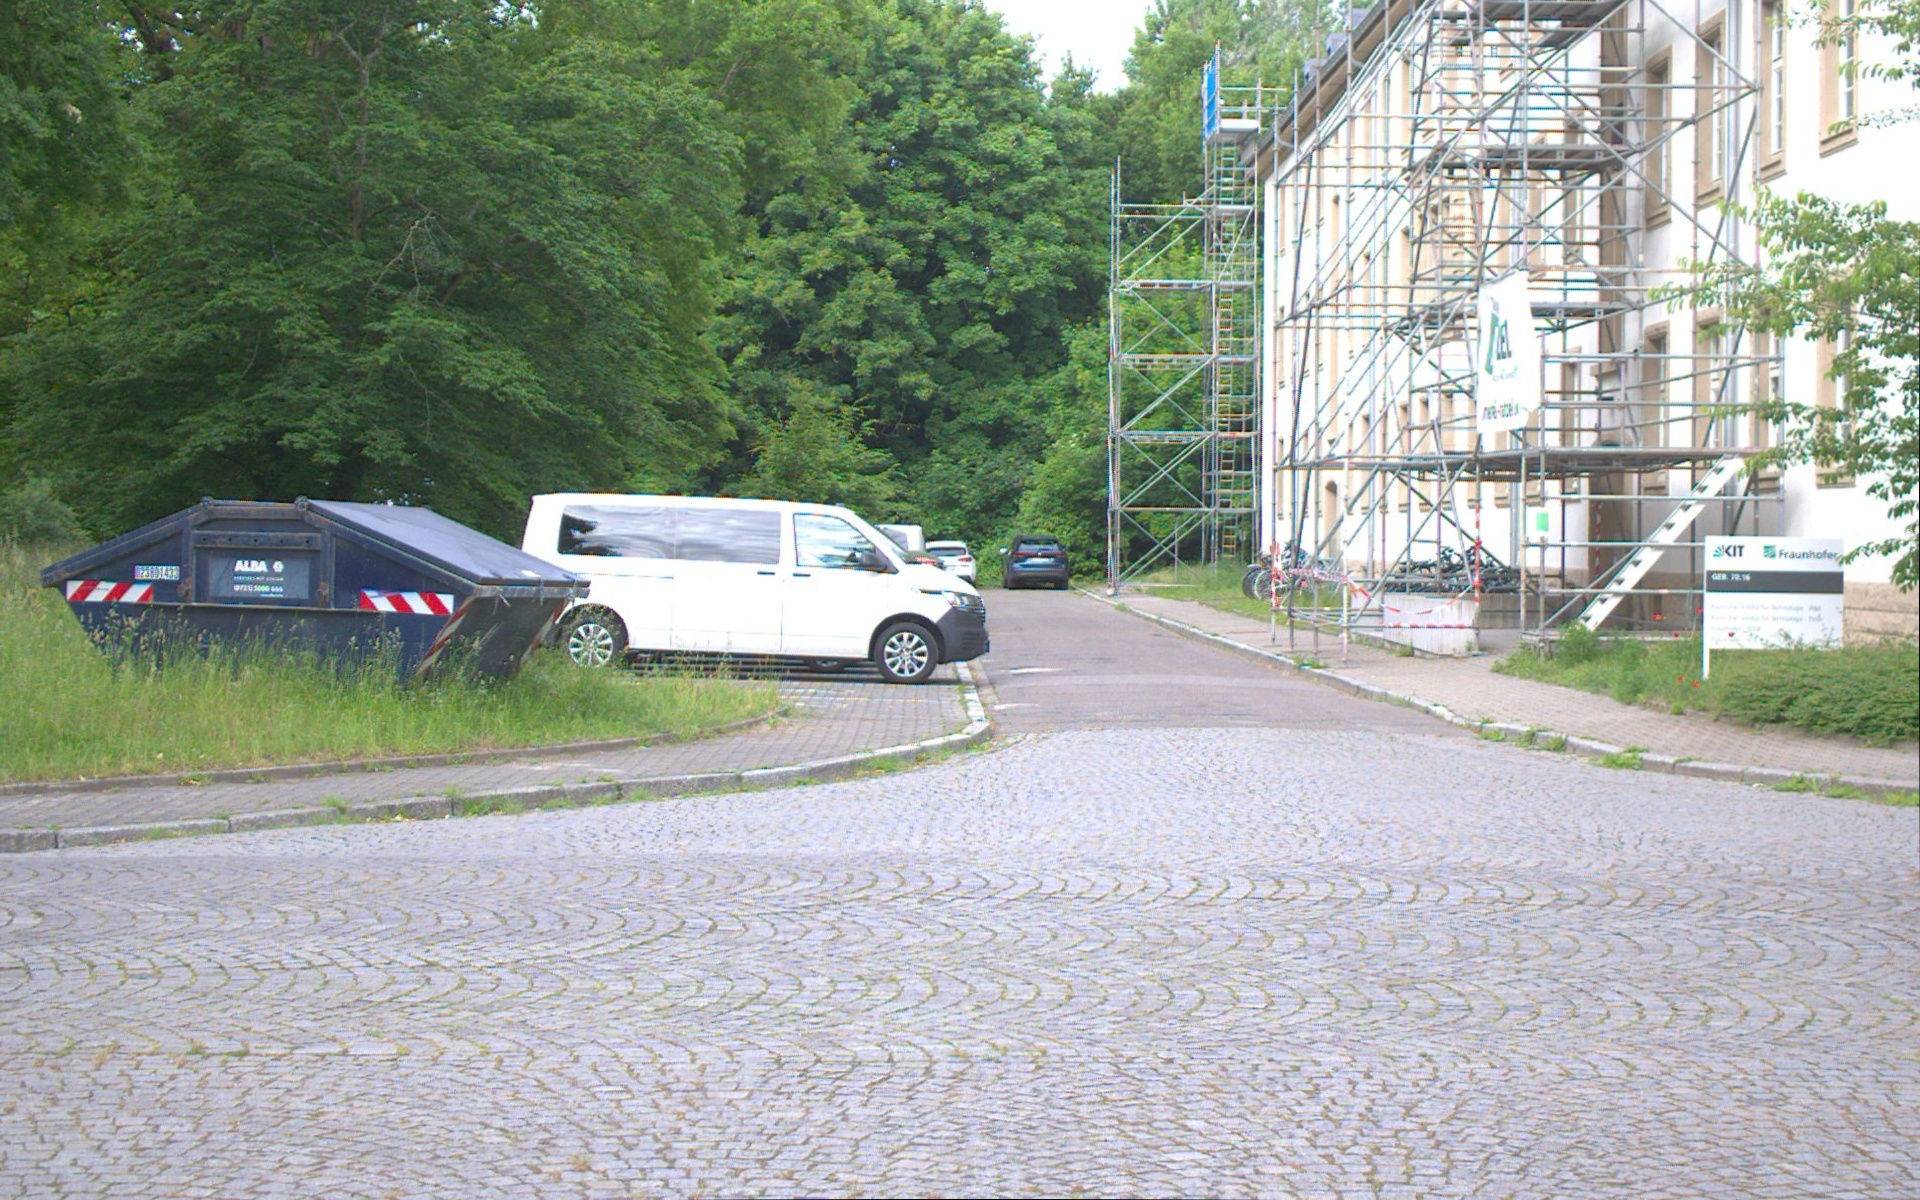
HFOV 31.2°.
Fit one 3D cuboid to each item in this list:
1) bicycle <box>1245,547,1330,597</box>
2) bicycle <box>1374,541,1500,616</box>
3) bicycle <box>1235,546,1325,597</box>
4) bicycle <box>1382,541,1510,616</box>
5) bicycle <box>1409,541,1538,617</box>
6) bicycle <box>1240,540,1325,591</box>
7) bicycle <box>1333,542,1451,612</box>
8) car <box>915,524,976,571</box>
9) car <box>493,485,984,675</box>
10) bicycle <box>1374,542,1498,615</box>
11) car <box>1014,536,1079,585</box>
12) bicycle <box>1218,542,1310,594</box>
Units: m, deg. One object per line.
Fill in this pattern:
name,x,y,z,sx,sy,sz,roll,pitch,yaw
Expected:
bicycle,7.308,-0.636,76.674,1.856,1.091,0.511,1,1,7
bicycle,7.182,-0.328,51.835,1.856,1.091,0.511,1,1,7
bicycle,6.934,-0.617,74.504,1.858,1.091,0.510,1,1,22
bicycle,7.209,-0.321,51.042,1.856,1.091,0.511,1,1,7
bicycle,7.536,-0.307,50.497,1.856,1.091,0.511,1,1,7
bicycle,7.120,-0.761,75.879,1.856,1.091,0.511,1,1,7
bicycle,6.917,-0.377,55.057,1.856,1.091,0.511,1,1,7
car,-0.442,-1.543,100.687,1.578,1.334,3.954,0,1,-3
car,-2.393,-0.234,37.882,5.259,1.990,1.969,0,1,-1
bicycle,7.280,-0.339,52.637,1.856,1.091,0.511,1,1,7
car,2.511,-1.167,100.734,1.578,1.366,3.954,0,1,-3
bicycle,6.411,-0.679,72.634,1.858,1.091,0.510,1,1,22
